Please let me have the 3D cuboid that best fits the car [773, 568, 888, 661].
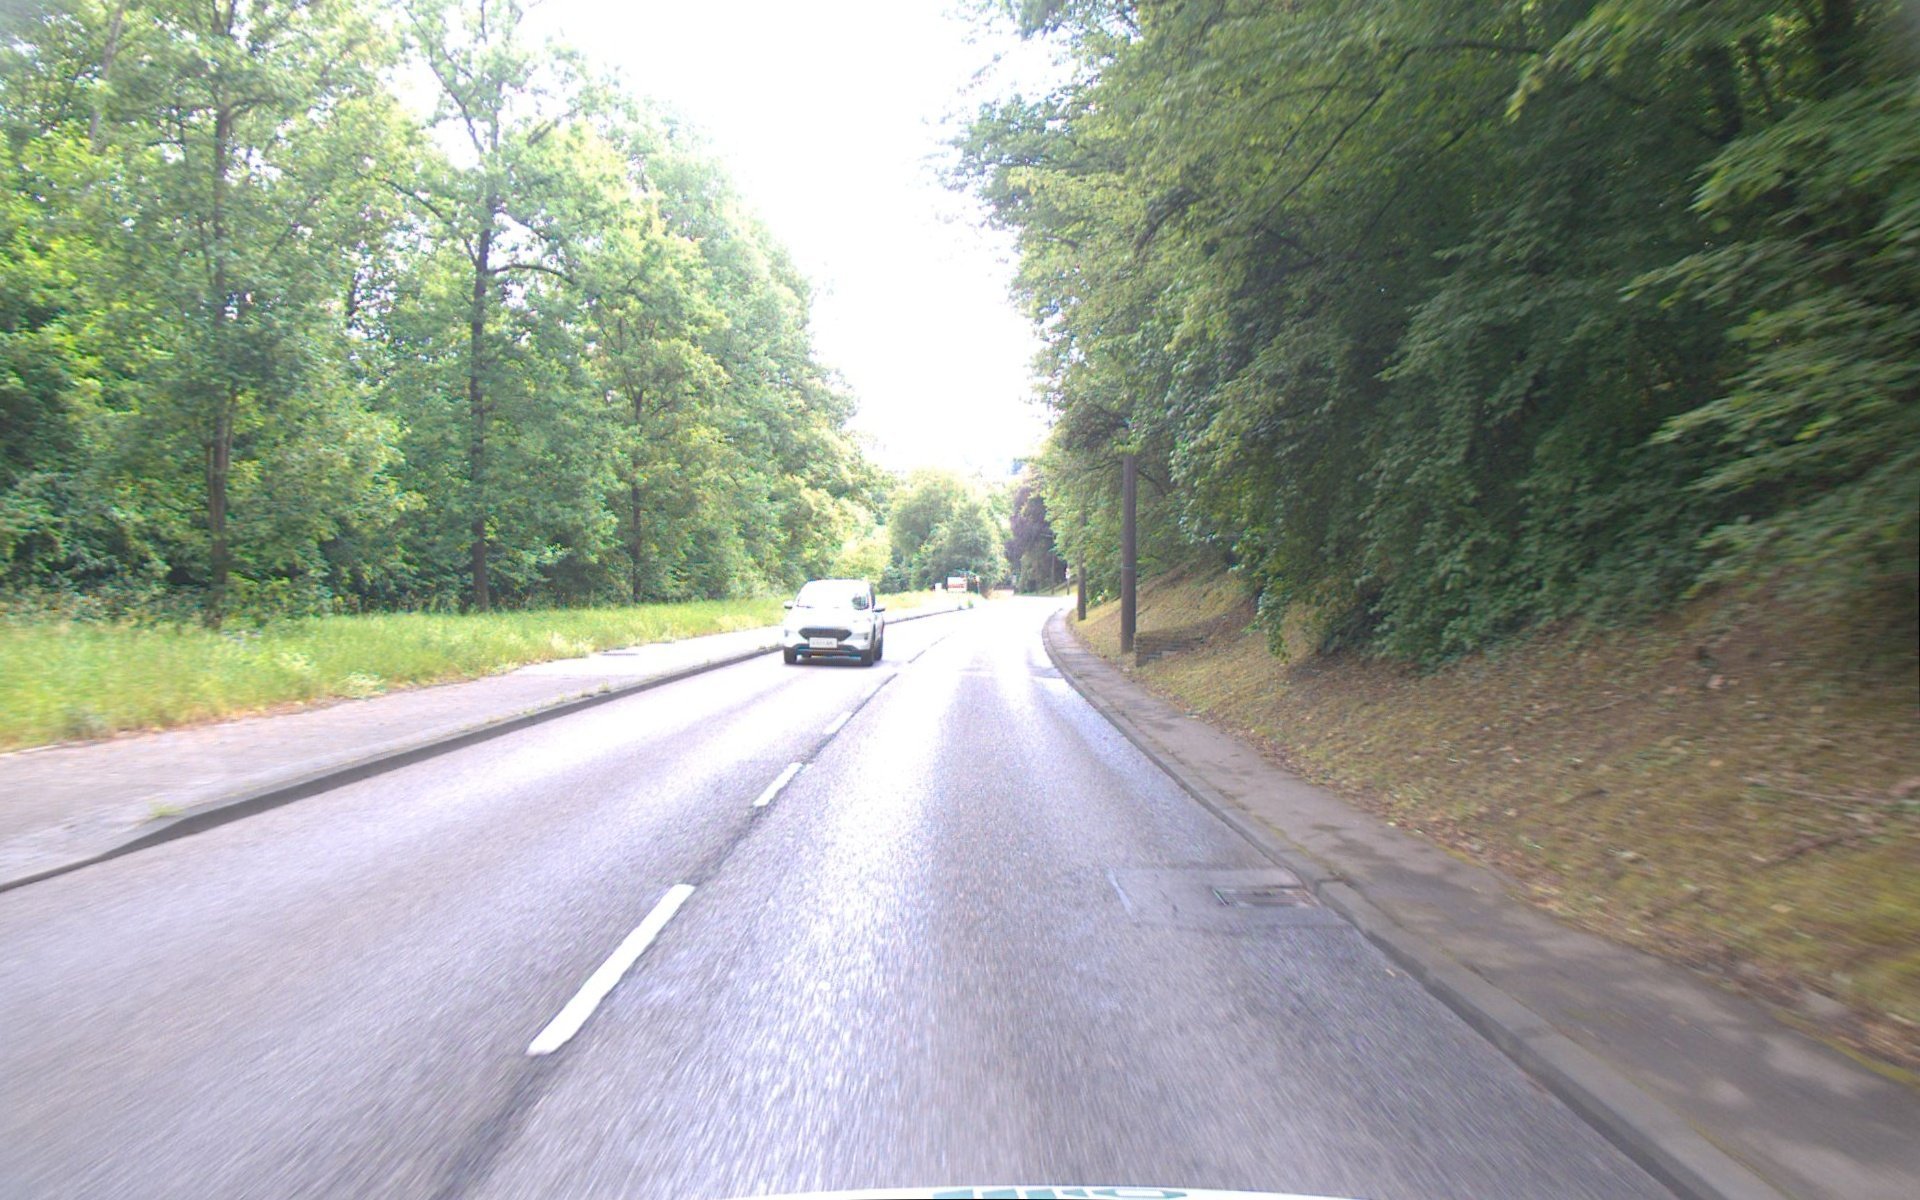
[{"bbox_3d":[-2.634,0.300,34.724,1.952,1.784,4.782,1,-1,0],"label":"car"}]
